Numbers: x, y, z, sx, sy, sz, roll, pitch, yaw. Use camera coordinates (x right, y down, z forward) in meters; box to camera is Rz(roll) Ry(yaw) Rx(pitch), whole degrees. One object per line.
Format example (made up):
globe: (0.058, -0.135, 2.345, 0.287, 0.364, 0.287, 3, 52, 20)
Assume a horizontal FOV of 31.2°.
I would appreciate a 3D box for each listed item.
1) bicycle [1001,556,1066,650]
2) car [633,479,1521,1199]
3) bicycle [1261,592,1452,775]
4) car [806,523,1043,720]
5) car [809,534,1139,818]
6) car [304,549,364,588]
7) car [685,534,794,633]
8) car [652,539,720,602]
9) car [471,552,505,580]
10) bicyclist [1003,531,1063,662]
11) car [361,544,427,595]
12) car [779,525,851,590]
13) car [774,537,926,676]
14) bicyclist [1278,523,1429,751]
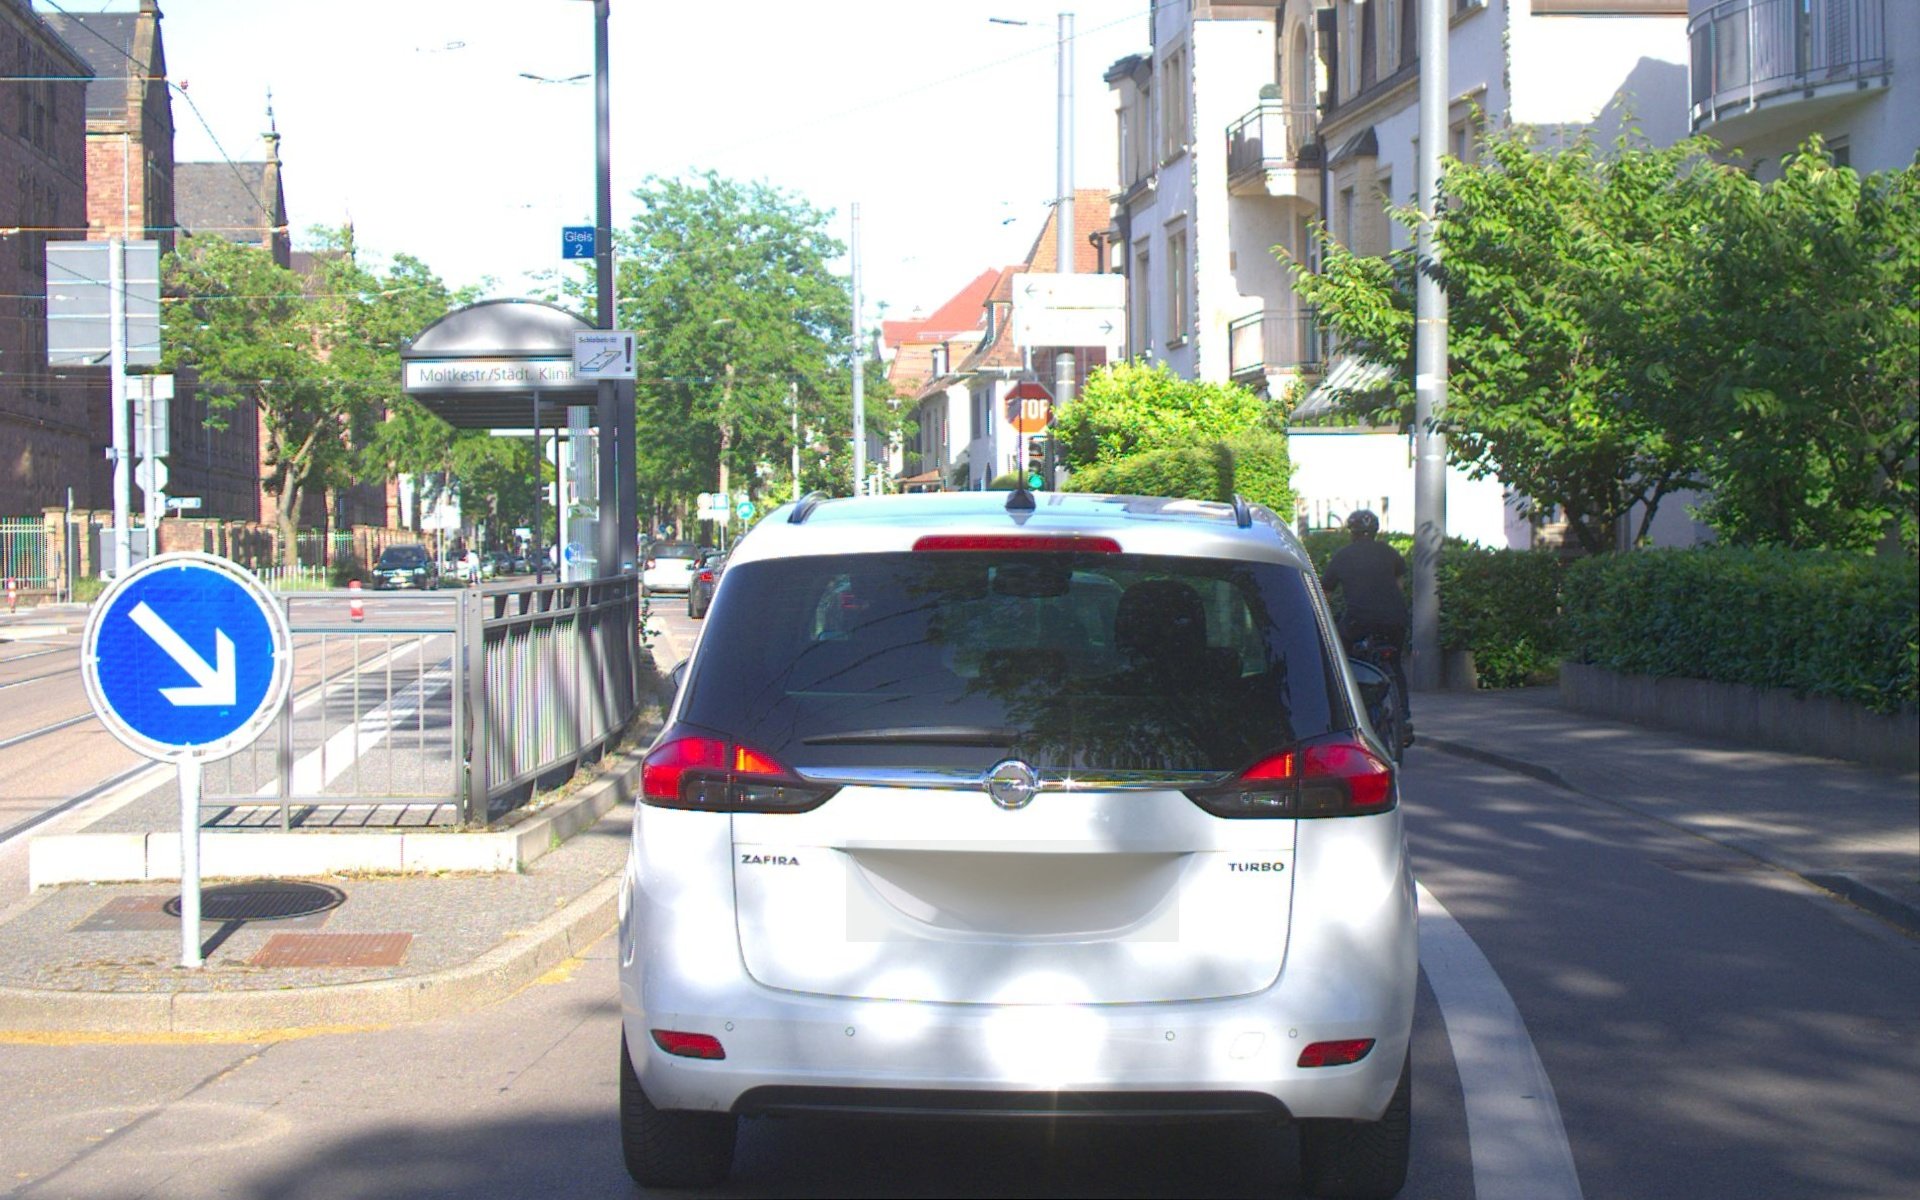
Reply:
bicycle: (0.916, 0.031, 43.215, 0.685, 1.153, 1.620, 0, 1, -3)
car: (0.084, 0.554, 9.021, 1.834, 1.636, 3.919, 0, 1, -5)
bicycle: (2.632, 0.530, 23.055, 0.829, 1.150, 2.095, 0, 1, -6)
car: (-0.377, 0.155, 30.421, 1.775, 1.626, 3.881, 0, 1, -5)
car: (-0.011, 0.347, 19.401, 1.586, 1.415, 3.901, -1, 1, -4)
car: (-26.487, -1.336, 145.495, 1.993, 1.590, 4.001, 0, 1, -3)
car: (-3.717, -0.289, 58.207, 1.775, 1.626, 3.881, 0, 1, -3)
car: (-7.485, -0.803, 94.261, 1.775, 1.687, 3.881, 0, 1, -4)
car: (-28.117, -2.031, 205.028, 1.906, 1.671, 4.001, 0, 1, -6)
bicyclist: (0.913, -0.051, 43.268, 0.685, 1.629, 1.015, 0, 0, -3)
car: (-18.988, -1.046, 115.494, 1.906, 1.671, 4.359, 0, 1, -5)
car: (-3.734, -1.089, 87.958, 1.775, 1.626, 3.881, 0, 1, -4)
car: (-1.352, 0.053, 42.149, 1.776, 1.626, 3.881, 0, 1, -2)
bicyclist: (2.630, 0.236, 23.053, 0.821, 1.496, 0.934, 0, 0, -6)
